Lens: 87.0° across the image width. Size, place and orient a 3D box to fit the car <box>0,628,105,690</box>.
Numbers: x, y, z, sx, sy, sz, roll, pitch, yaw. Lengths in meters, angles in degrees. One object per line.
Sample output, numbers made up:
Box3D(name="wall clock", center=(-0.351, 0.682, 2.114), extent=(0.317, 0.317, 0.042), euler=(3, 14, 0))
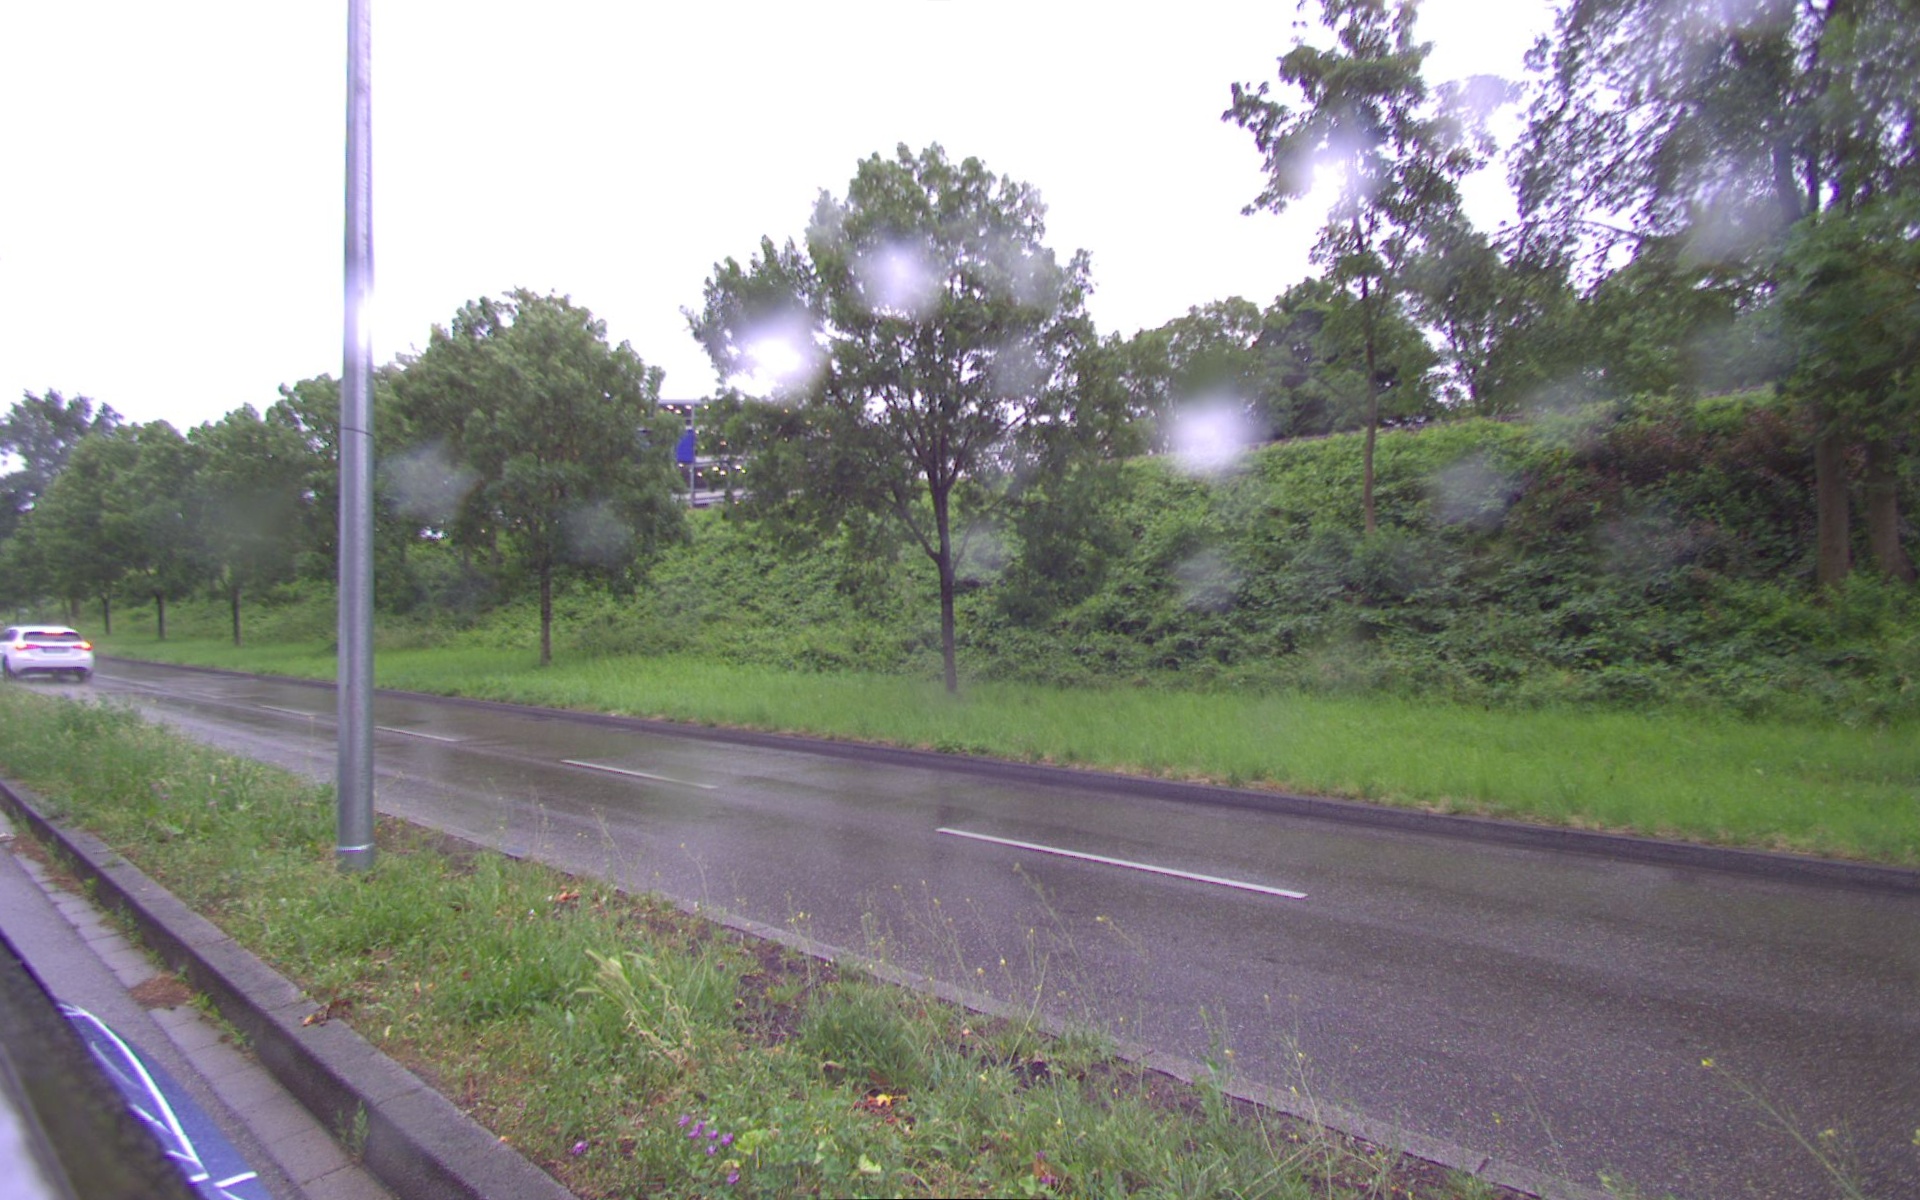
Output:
Box3D(name="car", center=(-24.828, 1.575, 27.534), extent=(4.045, 1.531, 1.716), euler=(0, -4, 41))

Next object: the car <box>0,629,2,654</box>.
Box3D(name="car", center=(-60.940, 2.571, 62.690), extent=(4.299, 1.531, 1.867), euler=(-2, -4, 41))
